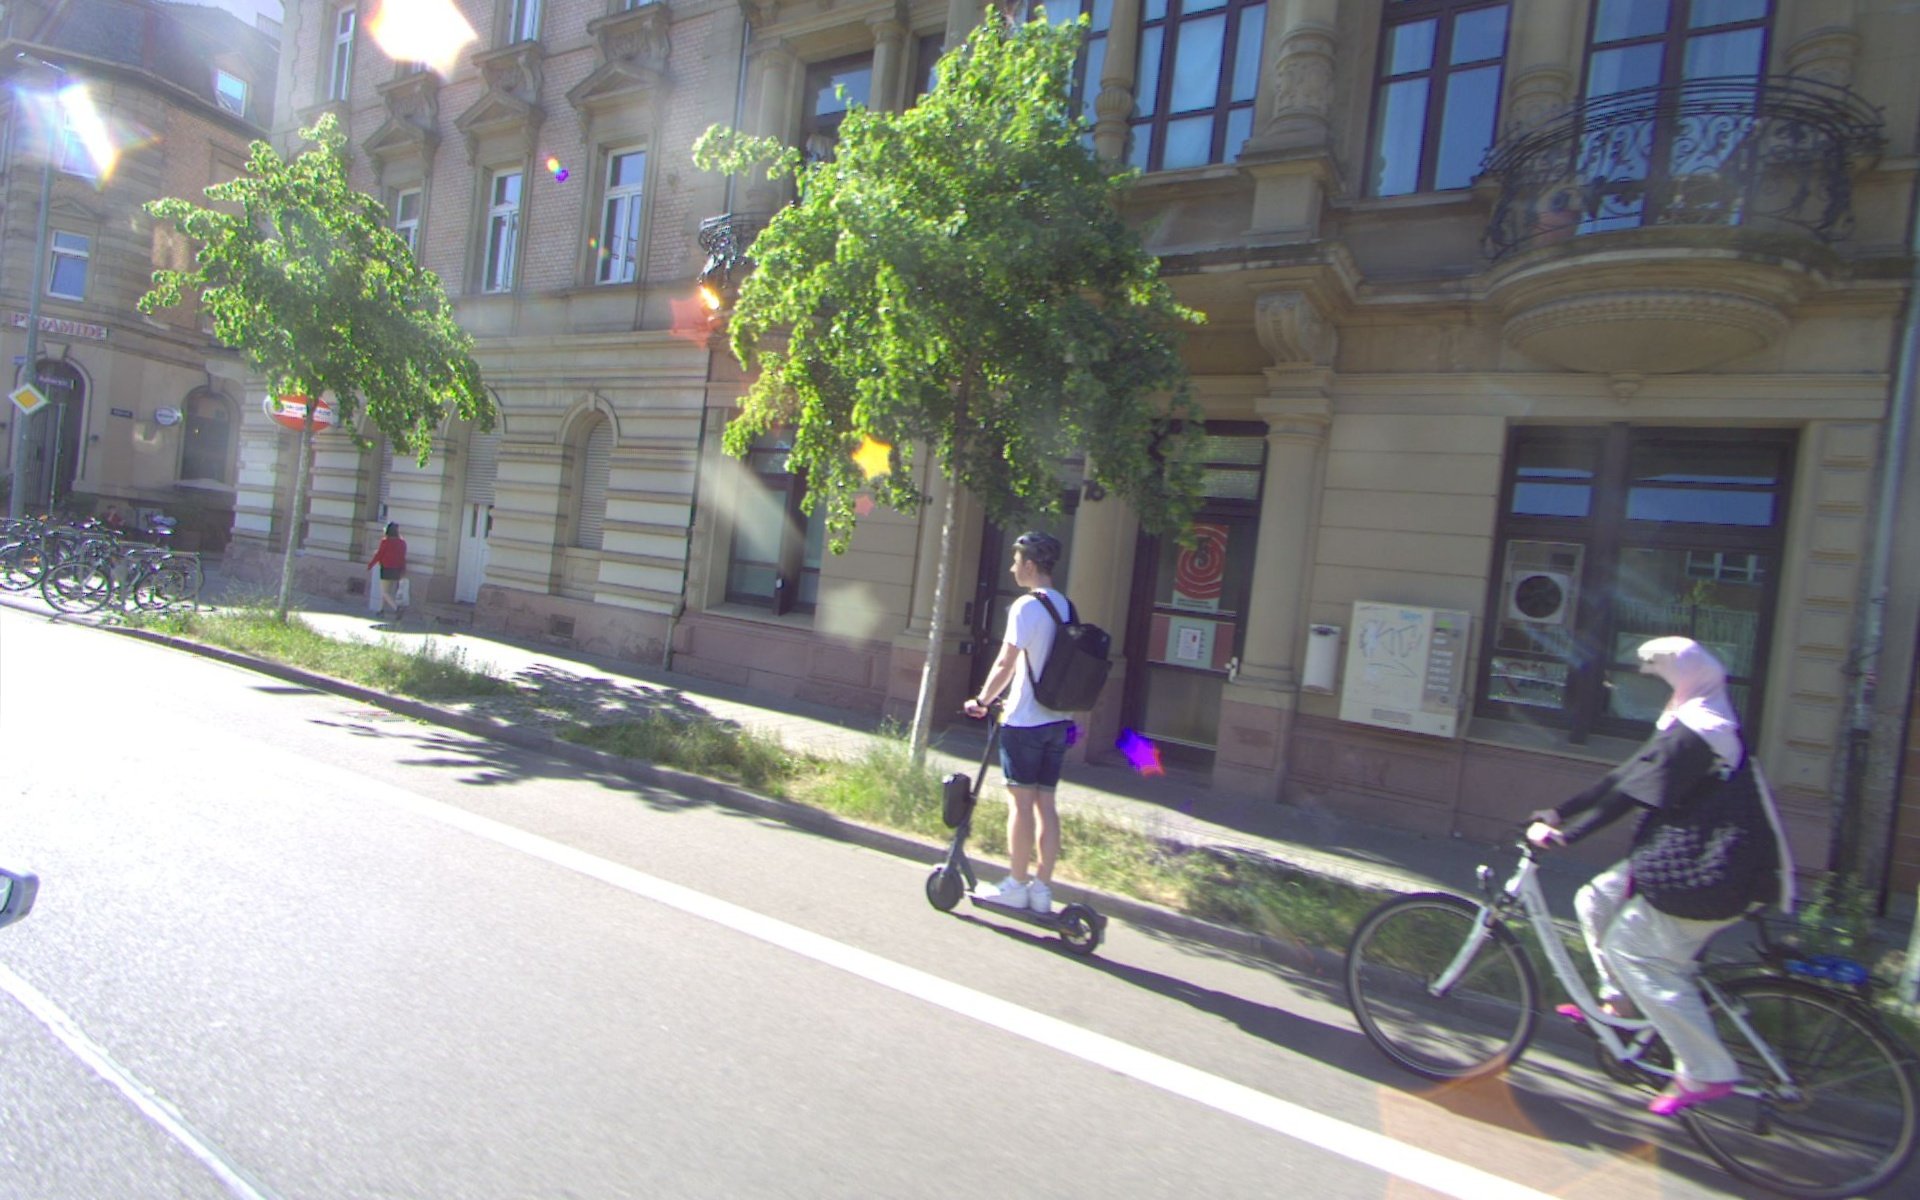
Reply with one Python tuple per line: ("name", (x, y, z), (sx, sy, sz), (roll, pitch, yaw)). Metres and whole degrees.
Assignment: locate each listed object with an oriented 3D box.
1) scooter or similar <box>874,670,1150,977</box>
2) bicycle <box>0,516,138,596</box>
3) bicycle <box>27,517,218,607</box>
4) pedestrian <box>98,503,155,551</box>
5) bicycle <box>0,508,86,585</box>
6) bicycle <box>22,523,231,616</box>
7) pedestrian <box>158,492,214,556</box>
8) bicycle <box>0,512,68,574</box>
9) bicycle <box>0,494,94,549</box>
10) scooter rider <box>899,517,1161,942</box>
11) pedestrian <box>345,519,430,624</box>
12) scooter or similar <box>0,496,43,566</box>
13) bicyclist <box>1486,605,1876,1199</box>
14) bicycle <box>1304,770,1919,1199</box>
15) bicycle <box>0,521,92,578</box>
("scooter or similar", (0.253, 1.063, 5.090), (1.151, 1.241, 0.491), (7, -1, 31))
("bicycle", (-13.456, -0.648, 15.092), (0.597, 1.060, 1.599), (8, 3, 34))
("bicycle", (-12.186, -0.530, 14.710), (0.698, 1.143, 1.995), (8, 3, 32))
("pedestrian", (-24.248, -2.113, 29.264), (0.917, 1.229, 0.852), (7, 0, 24))
("bicycle", (-14.862, -0.857, 15.695), (0.597, 1.115, 1.722), (8, 3, 34))
("bicycle", (-11.249, -0.384, 13.668), (0.832, 1.107, 1.998), (7, 3, 22))
("pedestrian", (-23.638, -2.311, 30.744), (0.852, 1.782, 0.909), (7, 0, 24))
("bicycle", (-16.428, -1.016, 17.171), (0.597, 0.956, 1.668), (8, 2, 38))
("bicycle", (-24.510, -2.093, 26.932), (0.643, 1.186, 1.818), (11, 3, 35))
("scooter rider", (0.363, 0.601, 5.072), (0.886, 1.882, 0.667), (7, -1, 31))
("pedestrian", (-9.262, -0.452, 16.276), (0.911, 1.561, 0.710), (7, 1, 31))
("scooter or similar", (-17.408, -1.274, 18.189), (0.413, 1.205, 1.110), (8, 2, 38))
("bicyclist", (2.485, 0.961, 3.594), (0.854, 1.731, 0.781), (7, -1, 30))
("bicycle", (2.283, 1.350, 3.661), (1.762, 1.105, 0.558), (7, -1, 31))
("bicycle", (-15.810, -0.875, 16.951), (0.597, 0.832, 1.668), (8, 2, 37))
